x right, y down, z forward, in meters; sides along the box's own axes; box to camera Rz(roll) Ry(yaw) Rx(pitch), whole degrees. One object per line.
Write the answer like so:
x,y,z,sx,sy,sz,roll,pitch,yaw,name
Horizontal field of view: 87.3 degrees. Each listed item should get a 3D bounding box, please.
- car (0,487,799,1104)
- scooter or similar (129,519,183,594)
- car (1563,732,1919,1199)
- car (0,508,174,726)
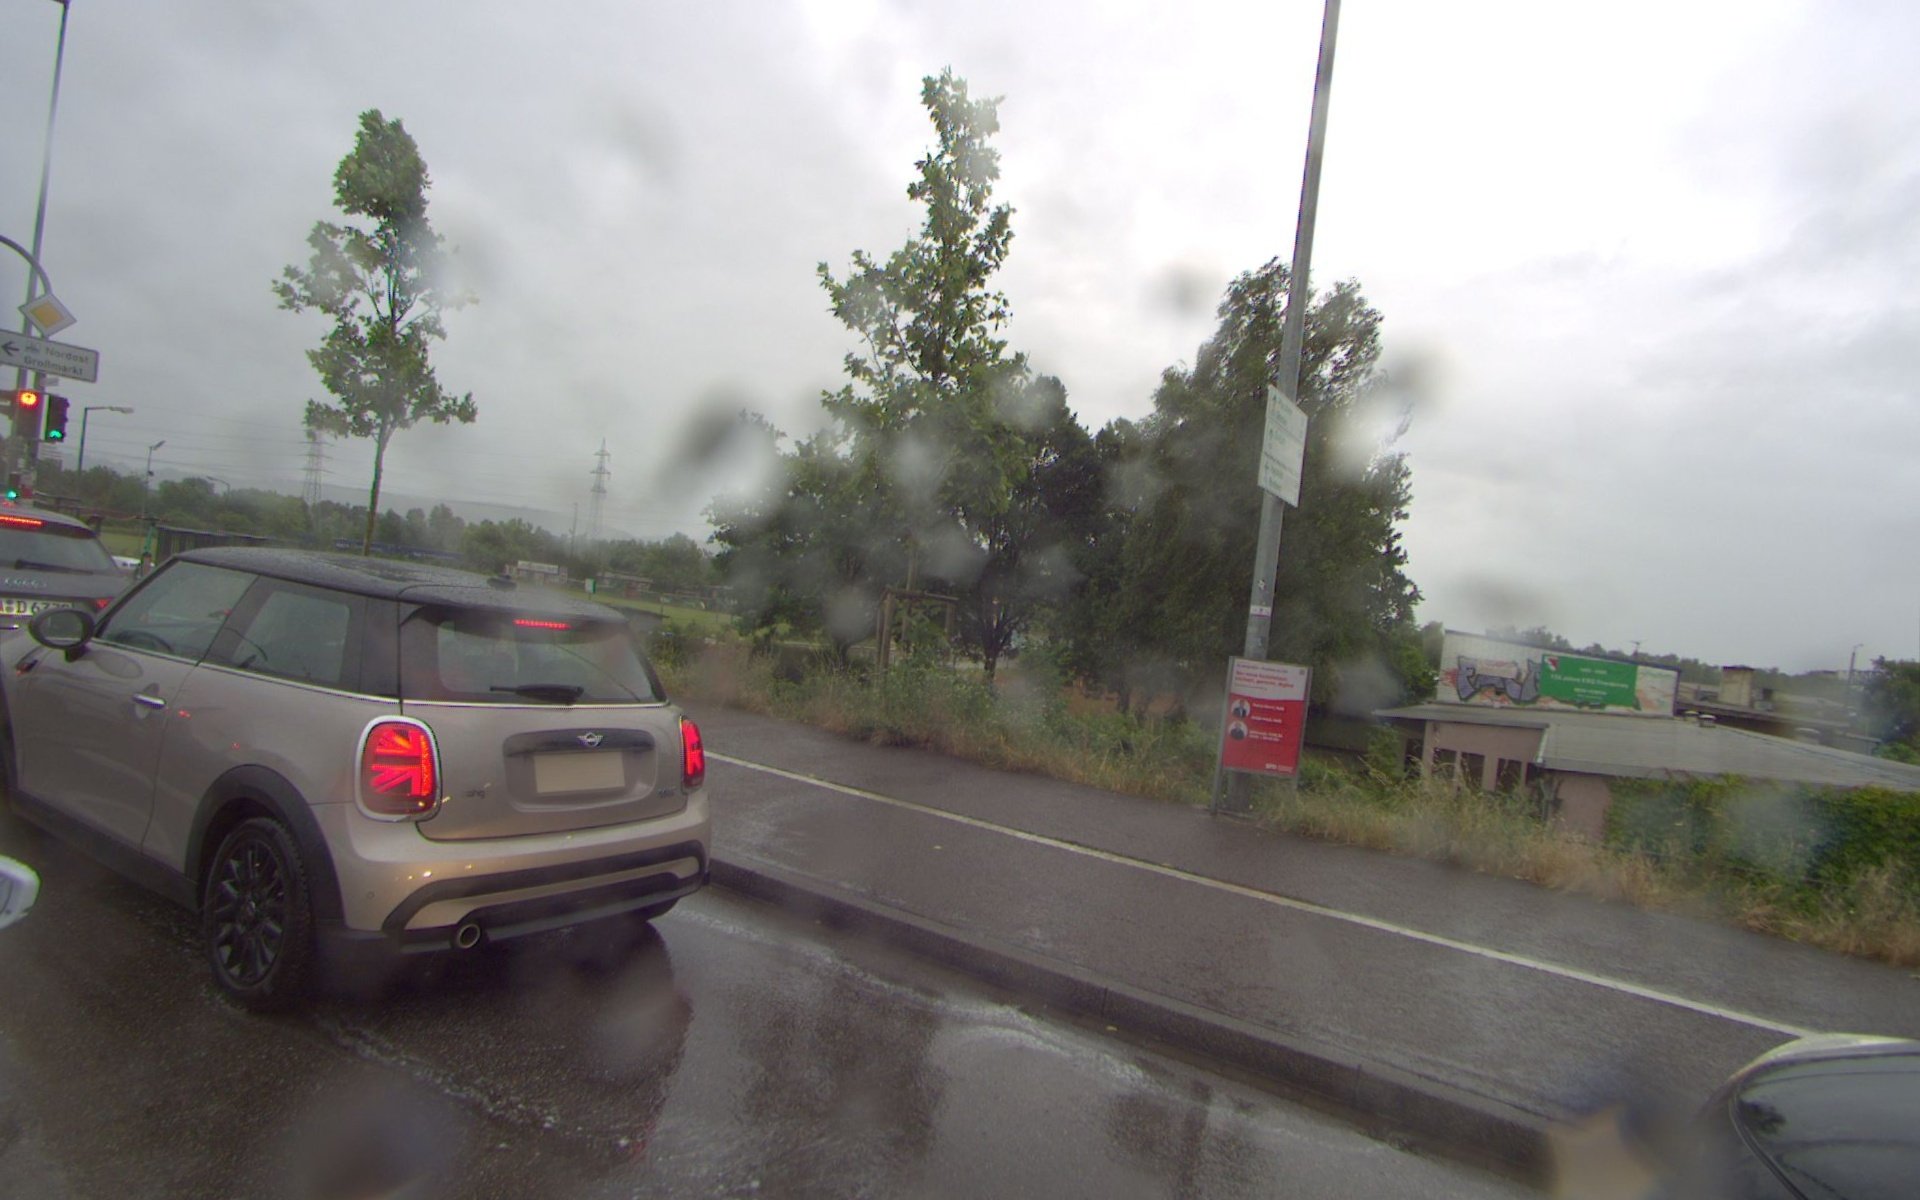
-2.706,0.486,4.329,3.563,1.525,1.717,7,-2,31,car
-13.613,-0.744,17.030,1.167,1.171,0.246,6,-1,33,scooter or similar
2.791,1.179,1.059,3.563,1.445,1.632,7,-1,31,car
-7.497,-0.054,7.227,3.563,1.360,1.632,6,-2,31,car
